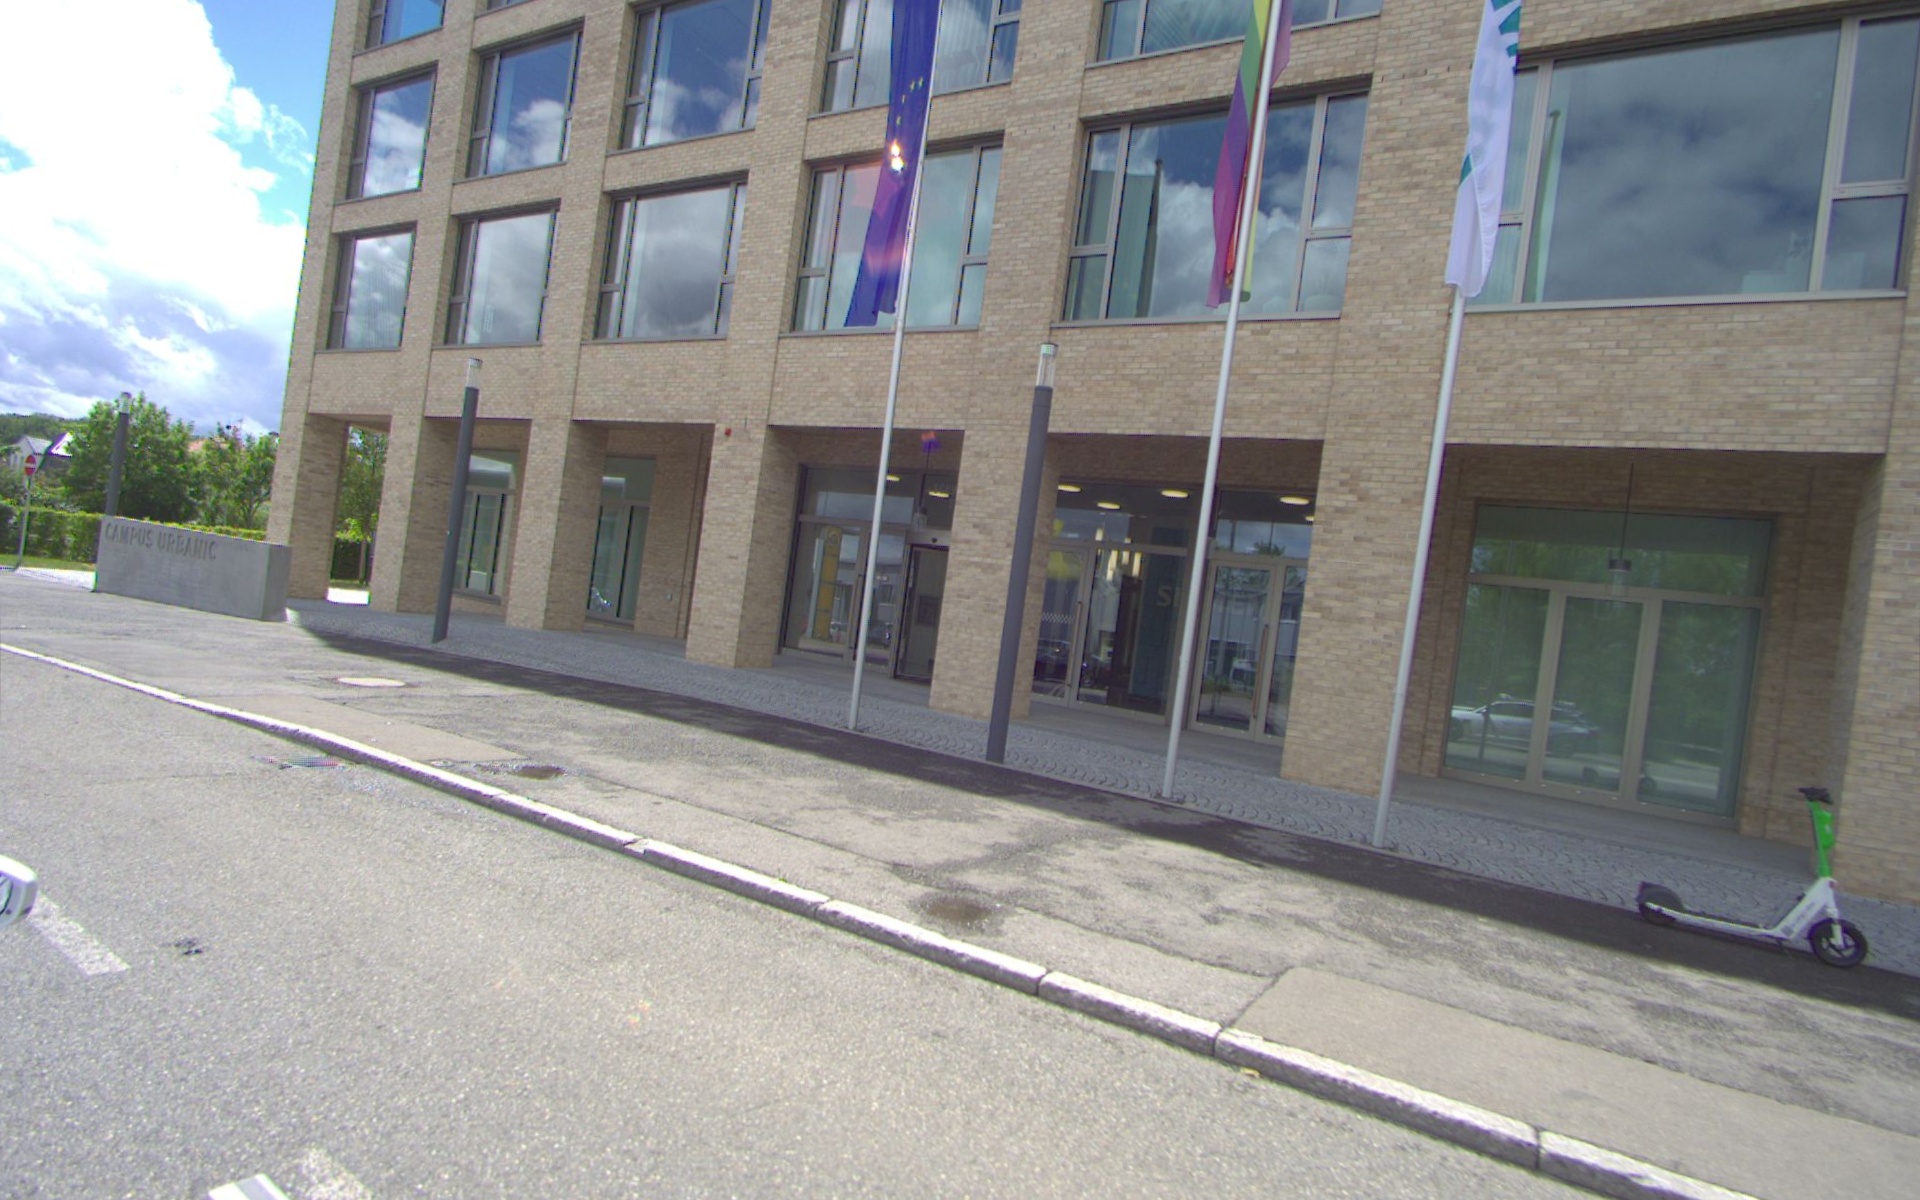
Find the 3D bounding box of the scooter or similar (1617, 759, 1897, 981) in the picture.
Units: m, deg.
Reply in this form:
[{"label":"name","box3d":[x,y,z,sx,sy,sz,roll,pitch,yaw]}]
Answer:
[{"label":"scooter or similar","box3d":[5.505,1.831,7.046,1.380,1.167,0.427,7,0,32]}]

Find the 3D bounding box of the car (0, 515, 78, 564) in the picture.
[{"label":"car","box3d":[-34.026,-2.253,35.123,1.967,1.500,4.438,5,-1,31]}]

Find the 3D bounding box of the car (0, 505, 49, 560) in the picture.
[{"label":"car","box3d":[-36.475,-2.654,36.404,2.051,1.871,4.719,5,-1,24]}]
